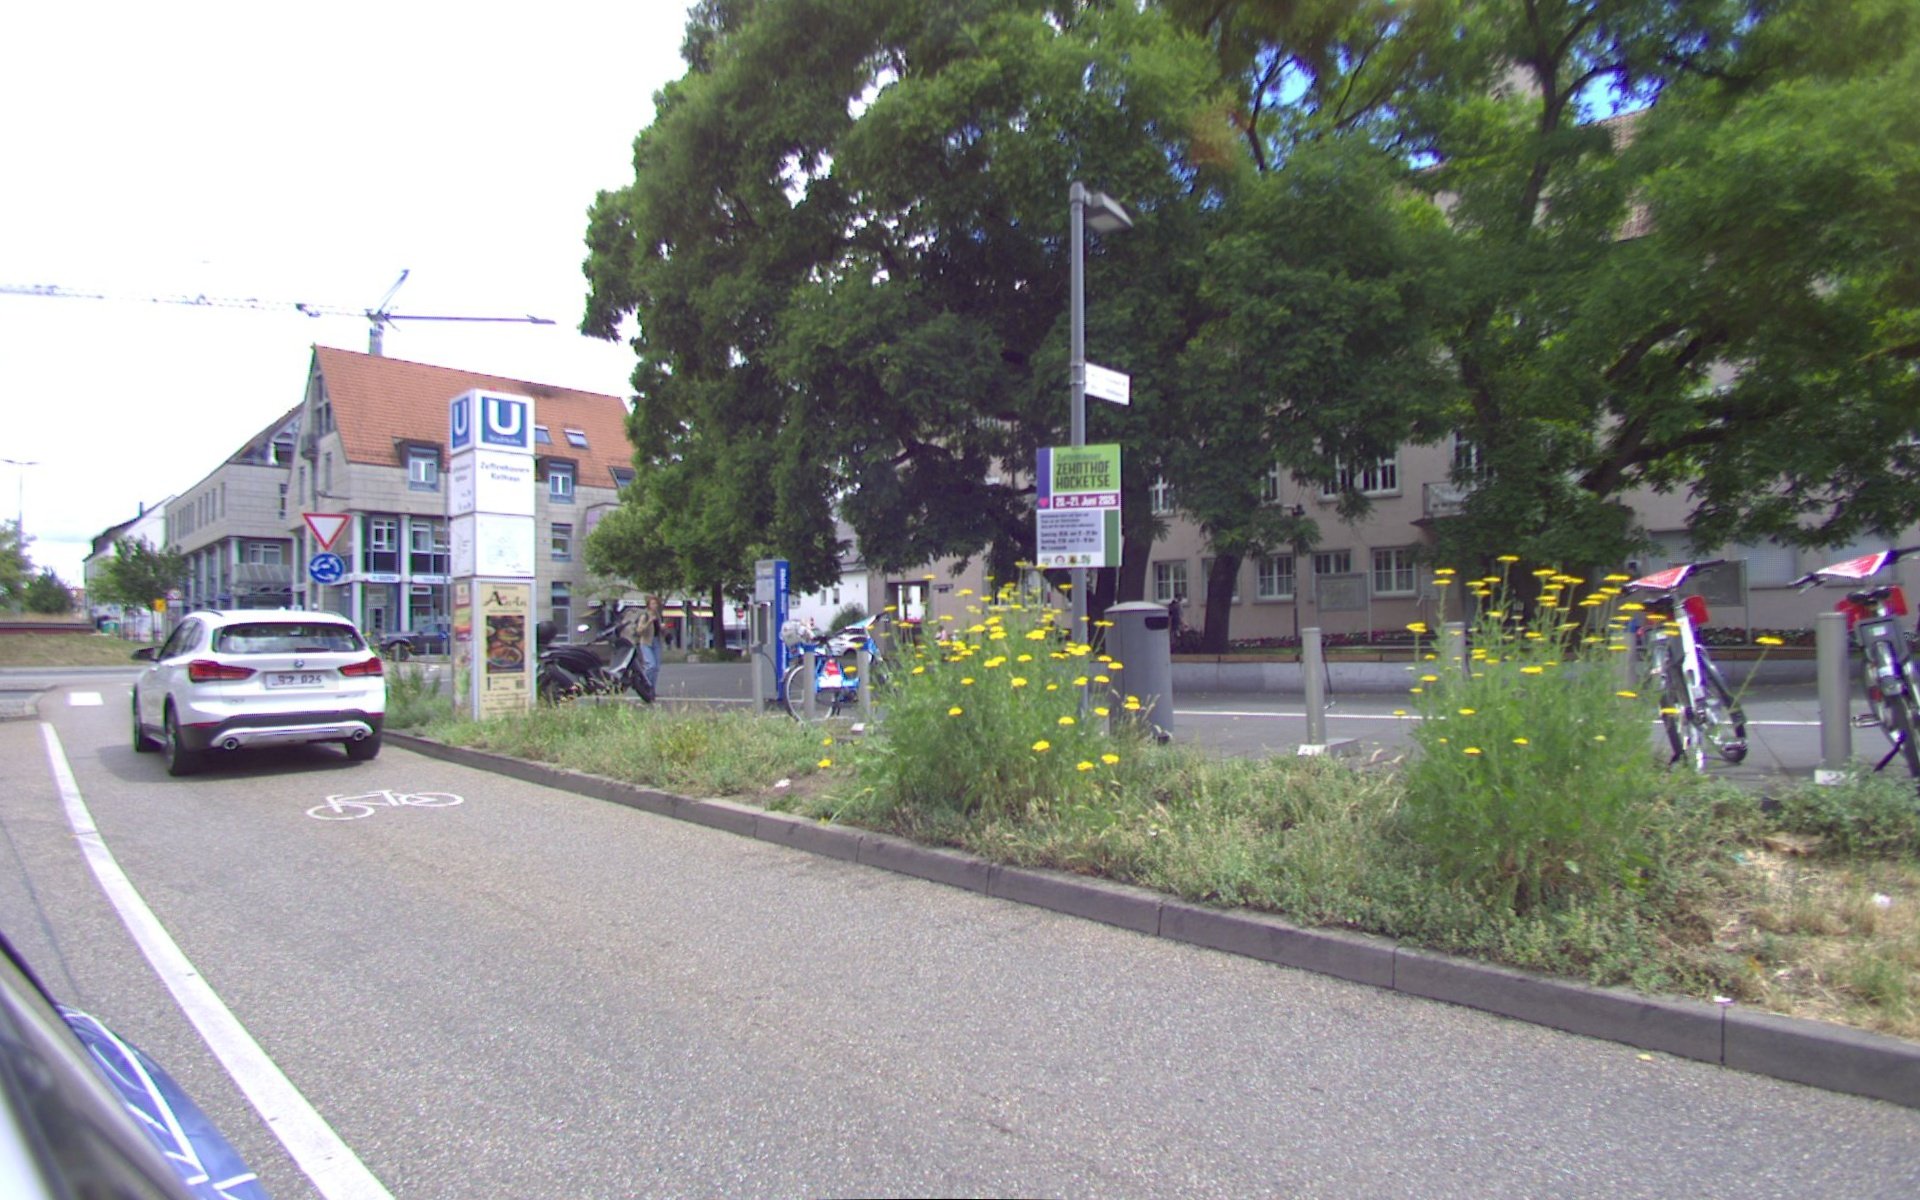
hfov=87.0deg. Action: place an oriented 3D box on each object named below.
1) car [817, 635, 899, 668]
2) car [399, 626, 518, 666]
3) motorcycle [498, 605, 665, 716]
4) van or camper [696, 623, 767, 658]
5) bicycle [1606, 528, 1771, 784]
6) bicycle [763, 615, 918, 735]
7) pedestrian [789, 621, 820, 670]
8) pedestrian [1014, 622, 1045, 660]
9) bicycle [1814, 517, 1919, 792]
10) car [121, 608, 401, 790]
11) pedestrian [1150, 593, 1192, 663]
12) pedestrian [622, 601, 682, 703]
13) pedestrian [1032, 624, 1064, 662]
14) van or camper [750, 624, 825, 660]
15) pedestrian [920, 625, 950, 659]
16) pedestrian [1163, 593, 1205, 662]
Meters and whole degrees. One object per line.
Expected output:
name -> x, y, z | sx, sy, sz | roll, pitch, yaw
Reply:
car -> -5.319, 2.676, 53.098 | 4.013, 1.551, 1.749 | 0, 0, -42
car -> -22.980, 2.052, 46.447 | 4.808, 1.666, 1.752 | 0, 0, -30
motorcycle -> -5.324, 0.827, 14.389 | 0.647, 1.461, 2.167 | 0, -2, 39
van or camper -> -16.345, 2.900, 72.449 | 4.634, 2.401, 1.989 | -1, -2, 17
bicycle -> 3.807, 0.274, 5.245 | 0.533, 1.136, 1.530 | -2, -3, 41
bicycle -> -1.149, 0.714, 10.036 | 0.514, 1.090, 1.671 | -4, -4, 36
pedestrian -> -5.469, 1.583, 35.569 | 0.816, 1.688, 0.682 | -4, -3, 37
pedestrian -> 2.318, 1.378, 33.808 | 0.689, 1.235, 0.807 | -4, -3, 36
bicycle -> 4.427, 0.247, 4.800 | 0.533, 1.136, 1.530 | -2, -3, 41
car -> -7.771, 0.929, 11.086 | 4.167, 1.597, 1.802 | -2, -2, 45
pedestrian -> 5.775, 0.775, 27.683 | 0.829, 1.864, 0.653 | -4, -3, 41
pedestrian -> -5.115, 0.850, 16.776 | 0.652, 1.641, 0.800 | 0, -3, -42
pedestrian -> 2.895, 1.413, 33.355 | 0.689, 1.235, 0.807 | -4, -3, 36
van or camper -> -11.637, 2.836, 68.406 | 4.634, 2.401, 1.989 | -1, -2, 17
pedestrian -> -0.903, 1.514, 36.208 | 0.689, 1.184, 0.807 | -4, -3, 36
pedestrian -> 6.256, 0.770, 28.237 | 0.877, 1.864, 0.653 | -4, -3, 41
